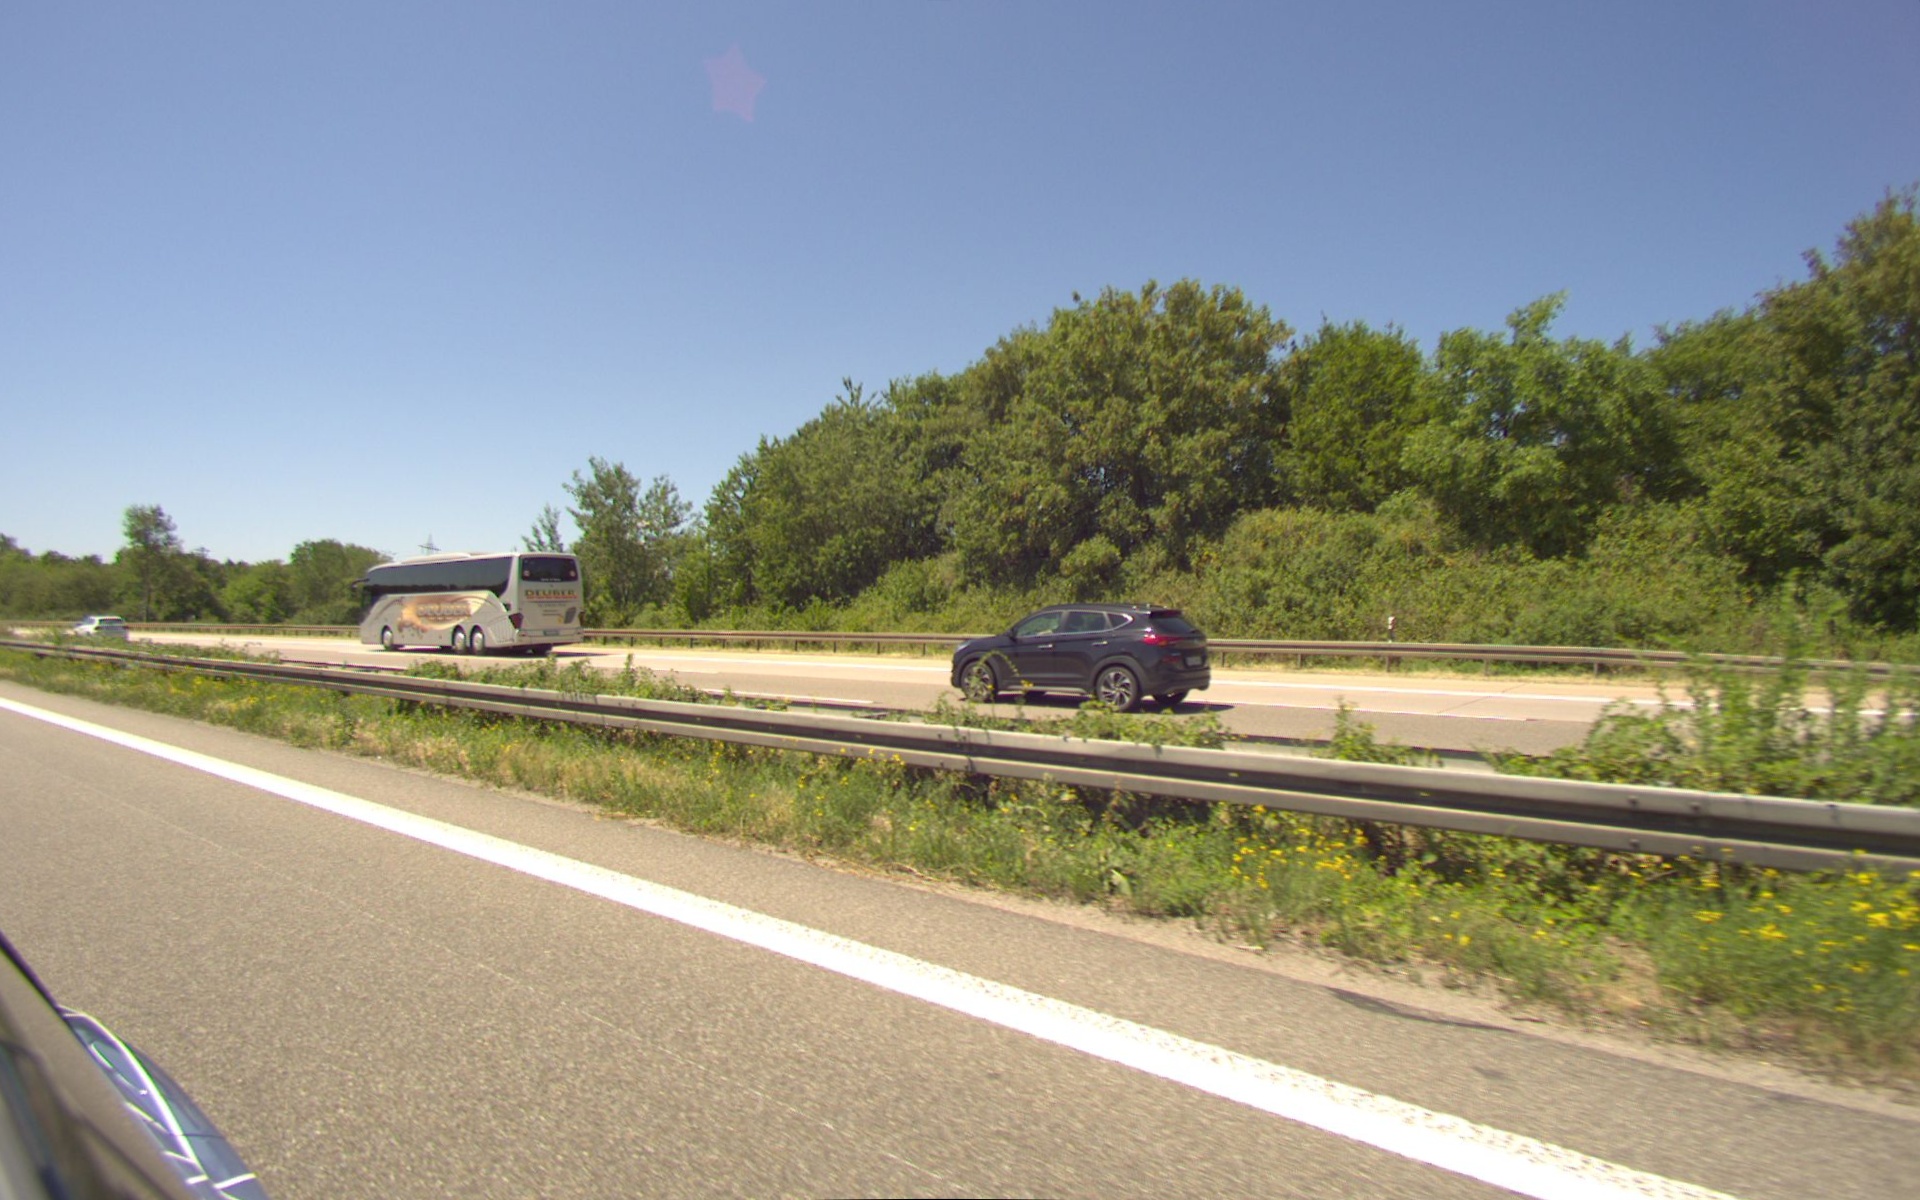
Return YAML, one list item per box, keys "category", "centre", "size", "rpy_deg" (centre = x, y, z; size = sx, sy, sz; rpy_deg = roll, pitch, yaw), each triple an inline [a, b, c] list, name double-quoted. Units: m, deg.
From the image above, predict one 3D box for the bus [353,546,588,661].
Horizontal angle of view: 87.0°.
- category: "bus"
  centre: [-18.750, 0.175, 38.059]
  size: [12.985, 3.736, 2.714]
  rpy_deg: [-1, 0, 39]

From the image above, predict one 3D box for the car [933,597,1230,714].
- category: "car"
  centre: [1.862, 0.821, 16.438]
  size: [4.554, 1.644, 1.807]
  rpy_deg: [-1, -1, 39]

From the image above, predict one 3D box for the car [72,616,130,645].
- category: "car"
  centre: [-48.417, 1.712, 57.036]
  size: [4.326, 1.526, 1.750]
  rpy_deg: [-1, 0, 39]
